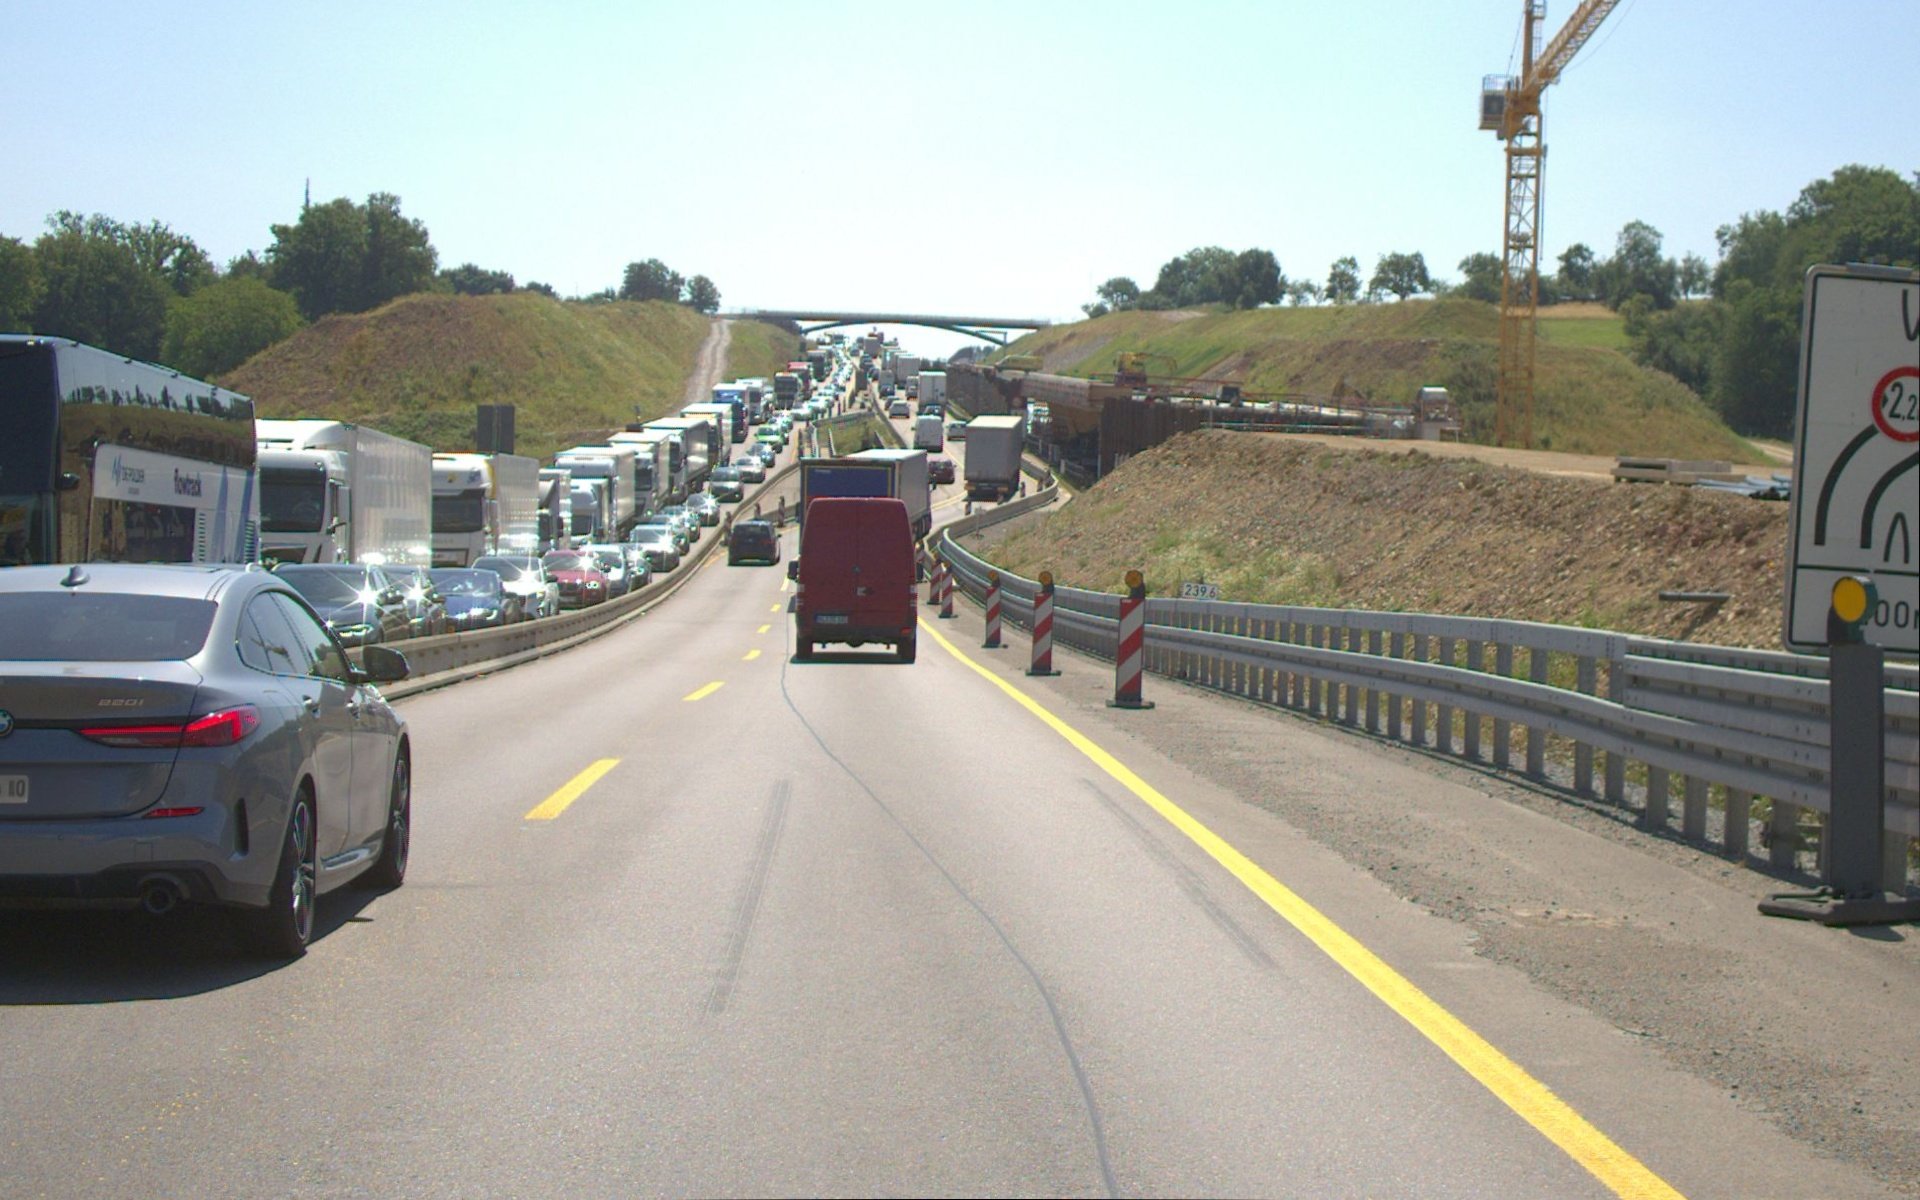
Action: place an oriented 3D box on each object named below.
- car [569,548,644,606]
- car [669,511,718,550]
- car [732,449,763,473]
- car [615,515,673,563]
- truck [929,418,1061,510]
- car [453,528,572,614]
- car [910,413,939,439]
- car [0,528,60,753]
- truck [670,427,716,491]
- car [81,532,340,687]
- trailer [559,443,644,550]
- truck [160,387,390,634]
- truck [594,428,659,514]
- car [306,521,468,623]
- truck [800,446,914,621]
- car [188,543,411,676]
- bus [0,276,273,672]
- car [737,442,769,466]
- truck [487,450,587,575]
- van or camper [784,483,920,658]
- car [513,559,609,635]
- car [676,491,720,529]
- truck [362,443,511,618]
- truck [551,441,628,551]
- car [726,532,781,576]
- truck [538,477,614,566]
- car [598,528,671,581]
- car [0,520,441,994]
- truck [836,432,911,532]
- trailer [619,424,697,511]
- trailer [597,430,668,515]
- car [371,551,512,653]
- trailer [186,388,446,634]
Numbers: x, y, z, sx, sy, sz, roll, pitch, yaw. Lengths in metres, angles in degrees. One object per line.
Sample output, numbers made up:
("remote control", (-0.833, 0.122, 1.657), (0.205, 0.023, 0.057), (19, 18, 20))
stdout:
("car", (-9.910, -0.627, 96.576), (1.827, 1.568, 4.000), (1, 0, -3))
("car", (-10.841, -2.833, 139.946), (1.827, 1.530, 4.547), (-1, 1, -3))
("car", (-12.812, -8.385, 207.128), (1.747, 1.404, 4.001), (1, 2, -2))
("car", (-11.433, -2.207, 124.691), (1.827, 1.645, 4.547), (2, 1, -3))
("truck", (2.152, -7.810, 197.902), (5.162, 4.979, 13.871), (-1, 2, 11))
("car", (-8.980, -0.620, 69.365), (1.993, 1.615, 4.883), (0, 2, -3))
("car", (-2.640, -12.820, 253.445), (1.952, 1.635, 4.268), (2, 1, -2))
("car", (-7.256, 0.299, 22.139), (1.859, 1.489, 4.905), (-1, 1, -3))
("truck", (-16.418, -8.680, 211.770), (2.683, 3.826, 7.388), (1, 2, -4))
("car", (-7.843, 0.044, 36.388), (1.838, 1.438, 4.931), (1, 2, -2))
("trailer", (-14.906, -4.368, 143.817), (2.594, 4.242, 12.469), (1, 2, -2))
("truck", (-12.297, -1.627, 62.292), (3.097, 4.183, 6.703), (1, 2, -3))
("truck", (-15.630, -6.022, 161.239), (2.782, 3.856, 5.462), (1, 1, -3))
("car", (-8.398, -0.422, 50.700), (1.832, 1.418, 4.684), (1, 1, -3))
("truck", (-2.919, -1.926, 96.038), (3.020, 4.676, 6.934), (-1, 2, -2))
("car", (-8.031, 0.074, 42.209), (1.918, 1.418, 5.091), (2, 1, -2))
("bus", (-11.357, -1.446, 44.172), (2.739, 4.249, 14.477), (1, 1, -2))
("car", (-13.636, -9.589, 226.338), (1.952, 1.524, 4.268), (1, 2, -2))
("truck", (-13.671, -2.863, 111.650), (2.524, 3.842, 8.673), (1, 2, -3))
("van or camper", (-1.833, -0.547, 56.915), (2.029, 2.734, 4.516), (1, 2, -4))
("car", (-9.806, -0.093, 84.756), (1.993, 1.625, 4.759), (2, 2, -3))
("car", (-12.541, -4.316, 164.836), (1.993, 1.777, 4.001), (-1, 2, -4))
("truck", (-13.004, -1.738, 85.809), (2.977, 4.170, 5.875), (1, 1, -2))
("truck", (-14.614, -4.165, 135.967), (2.550, 4.216, 6.531), (1, 2, -2))
("car", (-7.874, -1.756, 131.084), (2.011, 1.539, 4.133), (1, 2, -3))
("truck", (-14.136, -2.943, 126.792), (2.433, 3.137, 7.025), (0, 2, -3))
("car", (-10.194, -1.438, 107.851), (1.993, 1.551, 4.339), (-1, 2, -2))
("car", (-3.288, 0.467, 13.686), (1.851, 1.447, 4.743), (1, 2, -2))
("truck", (-3.713, -4.976, 146.689), (3.038, 4.086, 7.086), (0, 1, -3))
("trailer", (-16.304, -7.198, 186.477), (3.042, 4.536, 12.128), (1, 2, 0))
("trailer", (-15.887, -6.137, 167.442), (2.783, 3.918, 11.010), (1, 1, -2))
("car", (-8.656, -0.004, 57.744), (1.812, 1.432, 5.122), (2, 2, -3))
("trailer", (-12.642, -1.758, 68.935), (3.140, 4.368, 14.080), (1, 1, -3))
